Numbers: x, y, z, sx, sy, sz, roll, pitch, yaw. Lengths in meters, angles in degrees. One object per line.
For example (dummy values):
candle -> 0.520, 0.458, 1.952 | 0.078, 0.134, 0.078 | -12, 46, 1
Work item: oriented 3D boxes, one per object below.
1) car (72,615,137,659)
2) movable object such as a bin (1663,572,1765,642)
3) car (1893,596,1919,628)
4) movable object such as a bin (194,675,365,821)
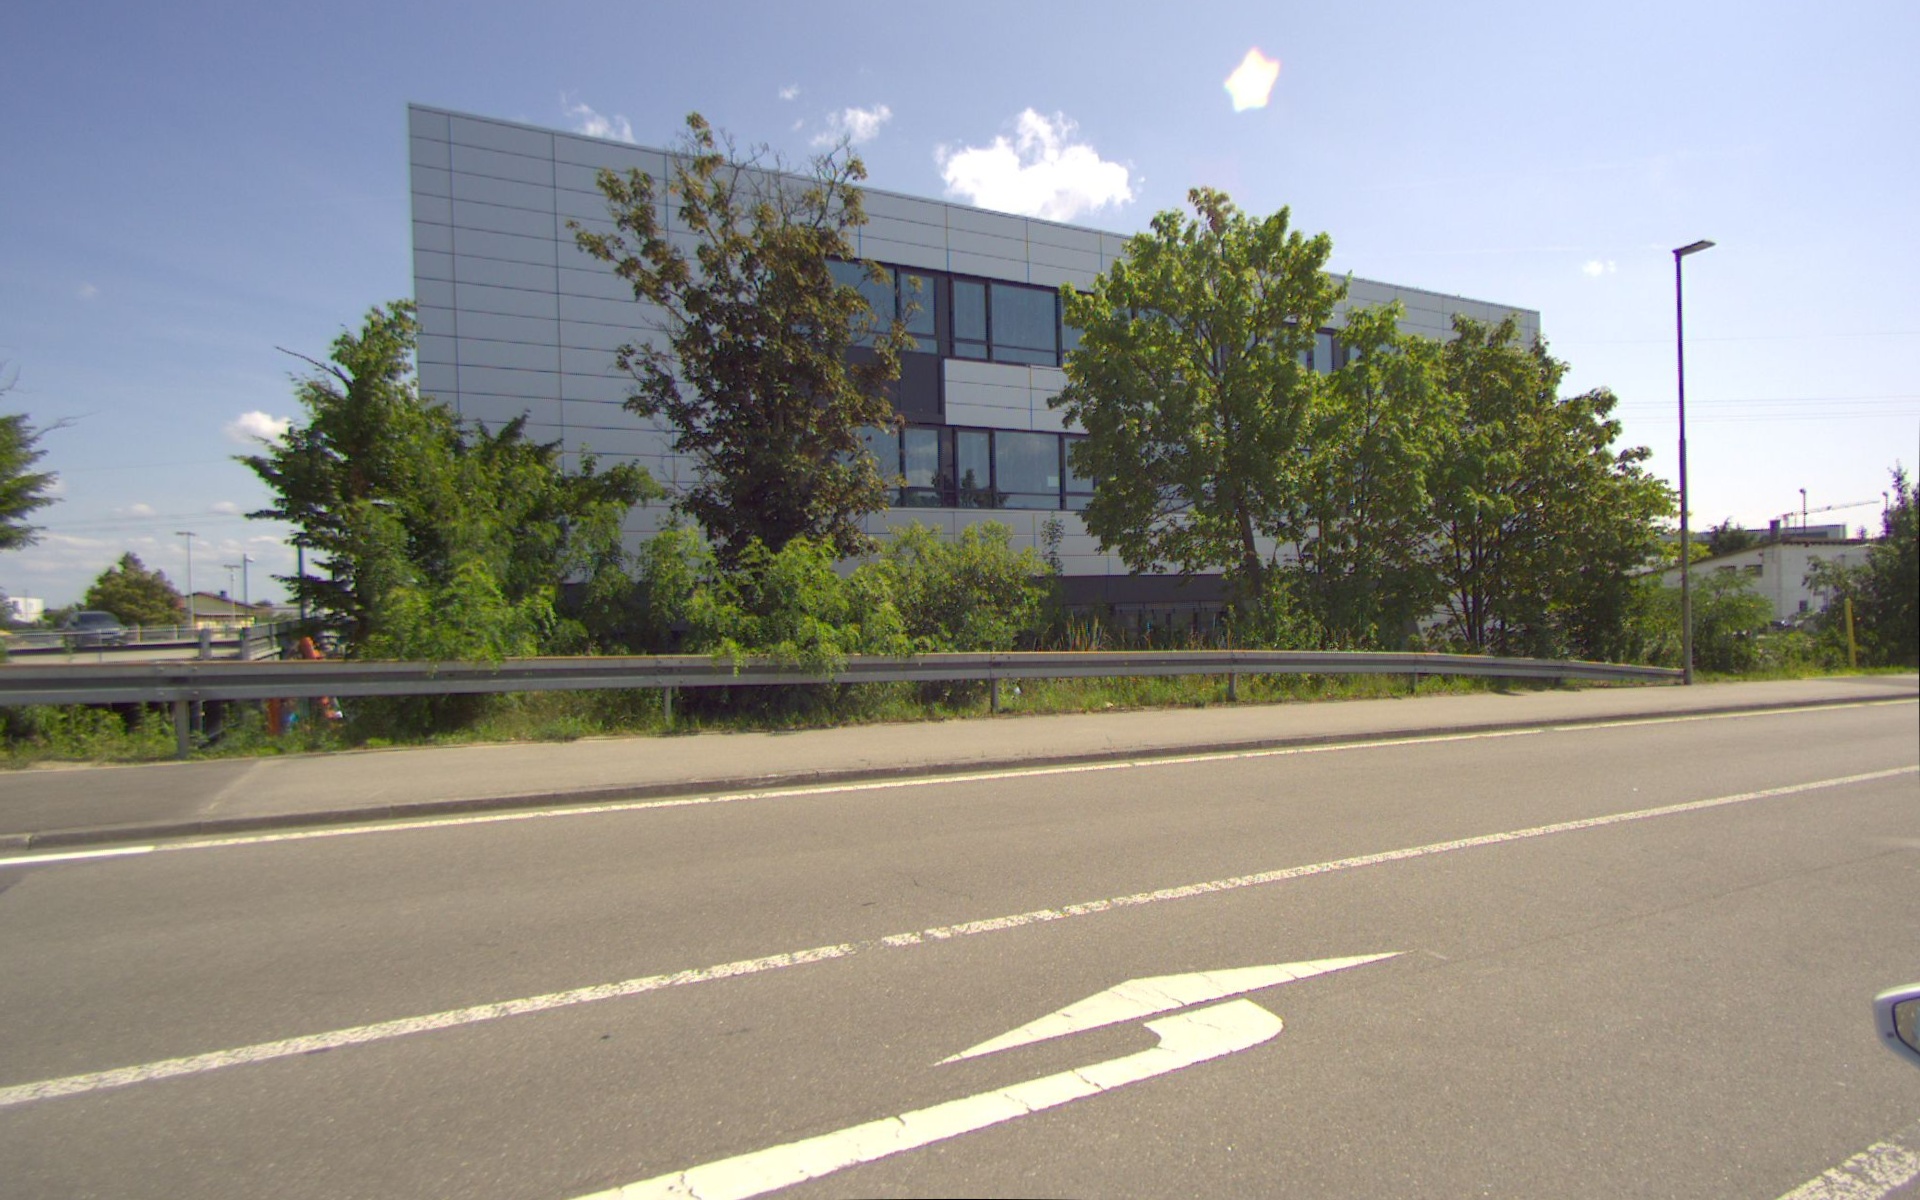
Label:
car -> -40.331, 1.689, 47.428 | 1.931, 1.885, 3.960 | -2, 1, -36
movable object such as a bin -> 31.600, 0.348, 42.015 | 5.687, 2.734, 2.056 | 2, -1, -39
car -> 53.561, 0.661, 54.682 | 1.960, 1.676, 4.001 | -1, 1, 4
movable object such as a bin -> -12.229, 2.522, 17.998 | 1.986, 2.039, 3.091 | -3, 2, -44
